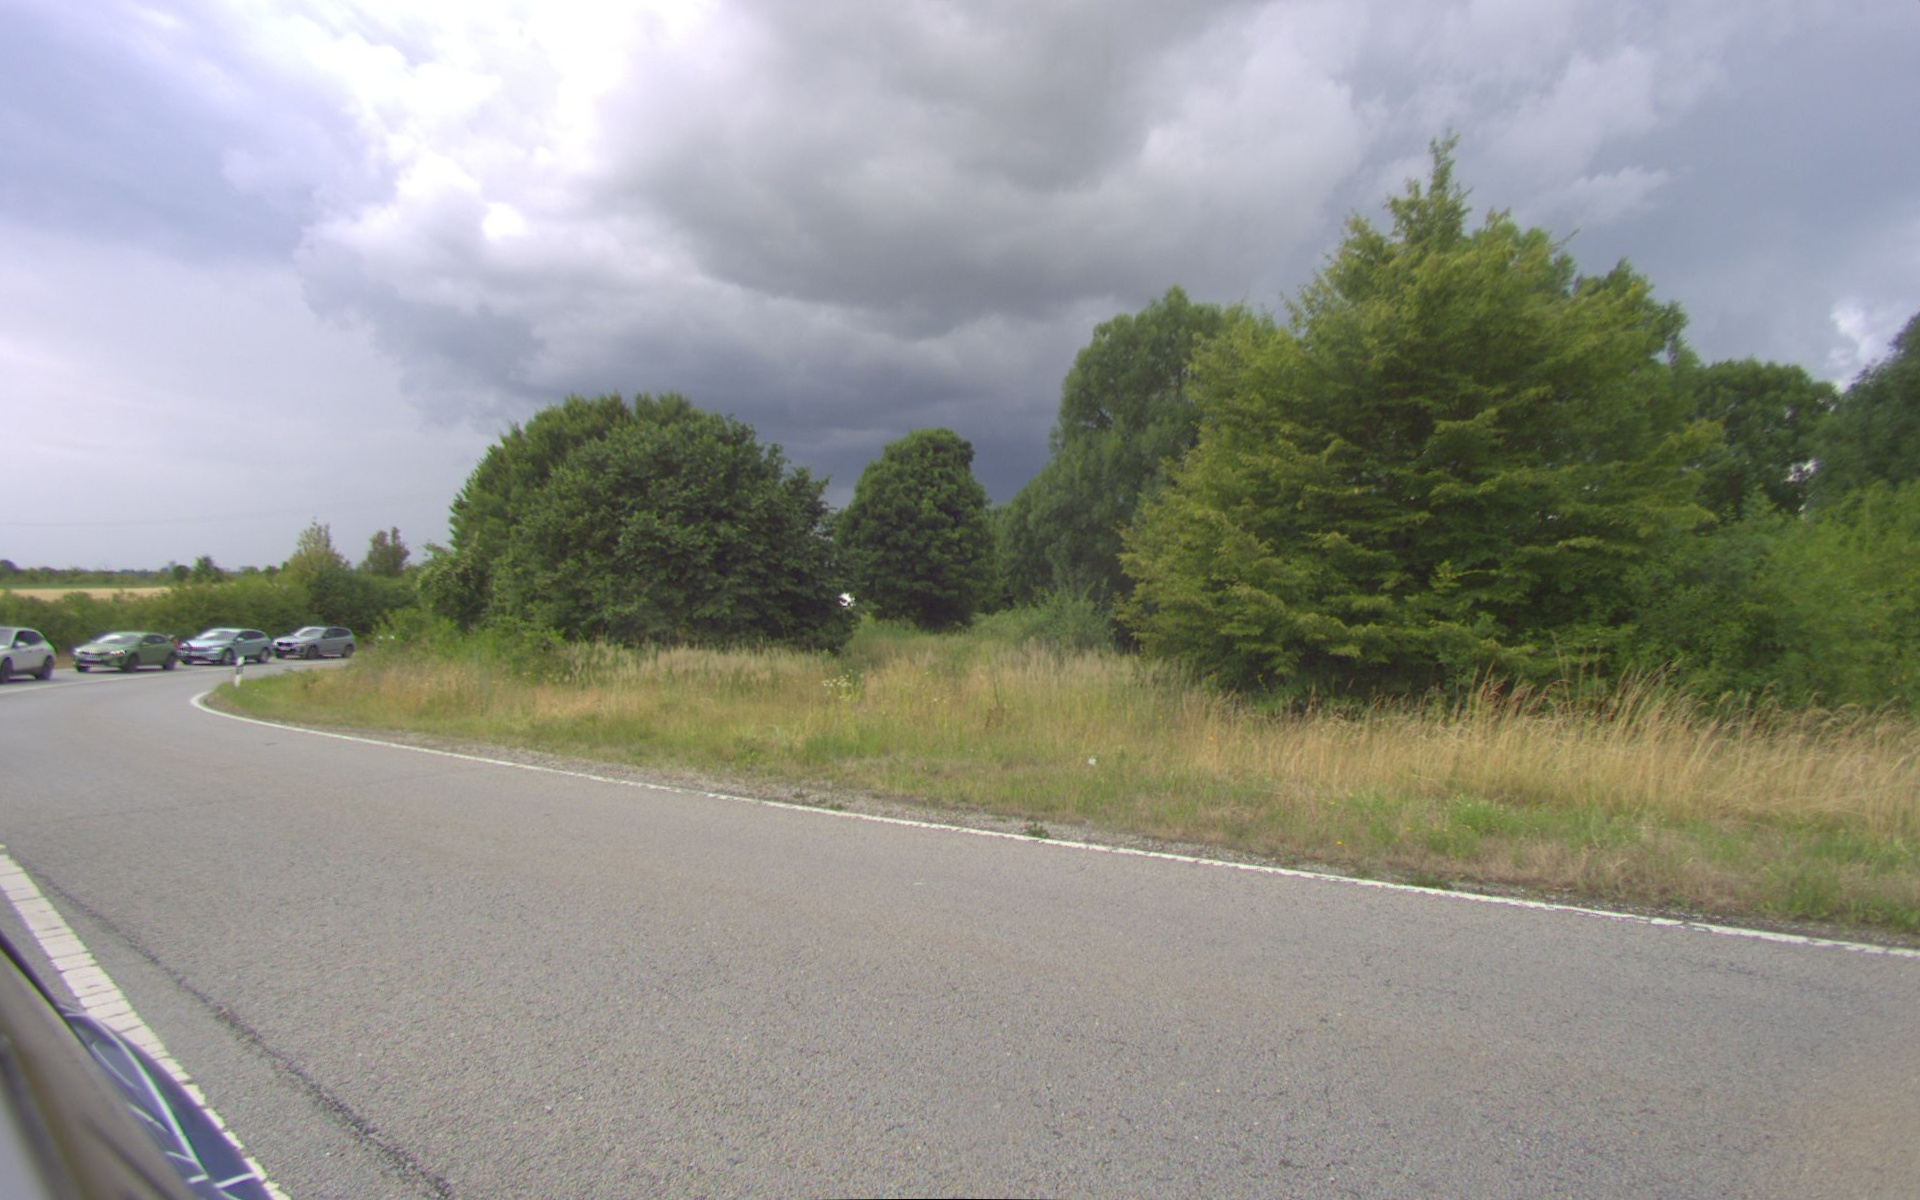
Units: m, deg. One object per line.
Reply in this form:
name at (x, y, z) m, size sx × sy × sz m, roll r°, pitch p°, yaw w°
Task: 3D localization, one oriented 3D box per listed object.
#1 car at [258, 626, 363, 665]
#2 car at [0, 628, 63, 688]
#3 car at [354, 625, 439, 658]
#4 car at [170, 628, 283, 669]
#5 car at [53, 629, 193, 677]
car at (-34.362, 2.368, 53.760) m, size 1.974 × 1.732 × 5.202 m, roll 2°, pitch 0°, yaw 4°
car at (-29.955, 1.752, 31.130) m, size 1.965 × 1.733 × 5.225 m, roll 2°, pitch -3°, yaw -24°
car at (-34.261, 2.486, 61.720) m, size 1.974 × 1.732 × 5.202 m, roll 2°, pitch 0°, yaw 4°
car at (-33.775, 2.226, 46.813) m, size 1.968 × 1.733 × 5.217 m, roll 2°, pitch -2°, yaw -8°
car at (-32.525, 2.039, 39.556) m, size 1.967 × 1.733 × 5.220 m, roll 2°, pitch -2°, yaw -12°
